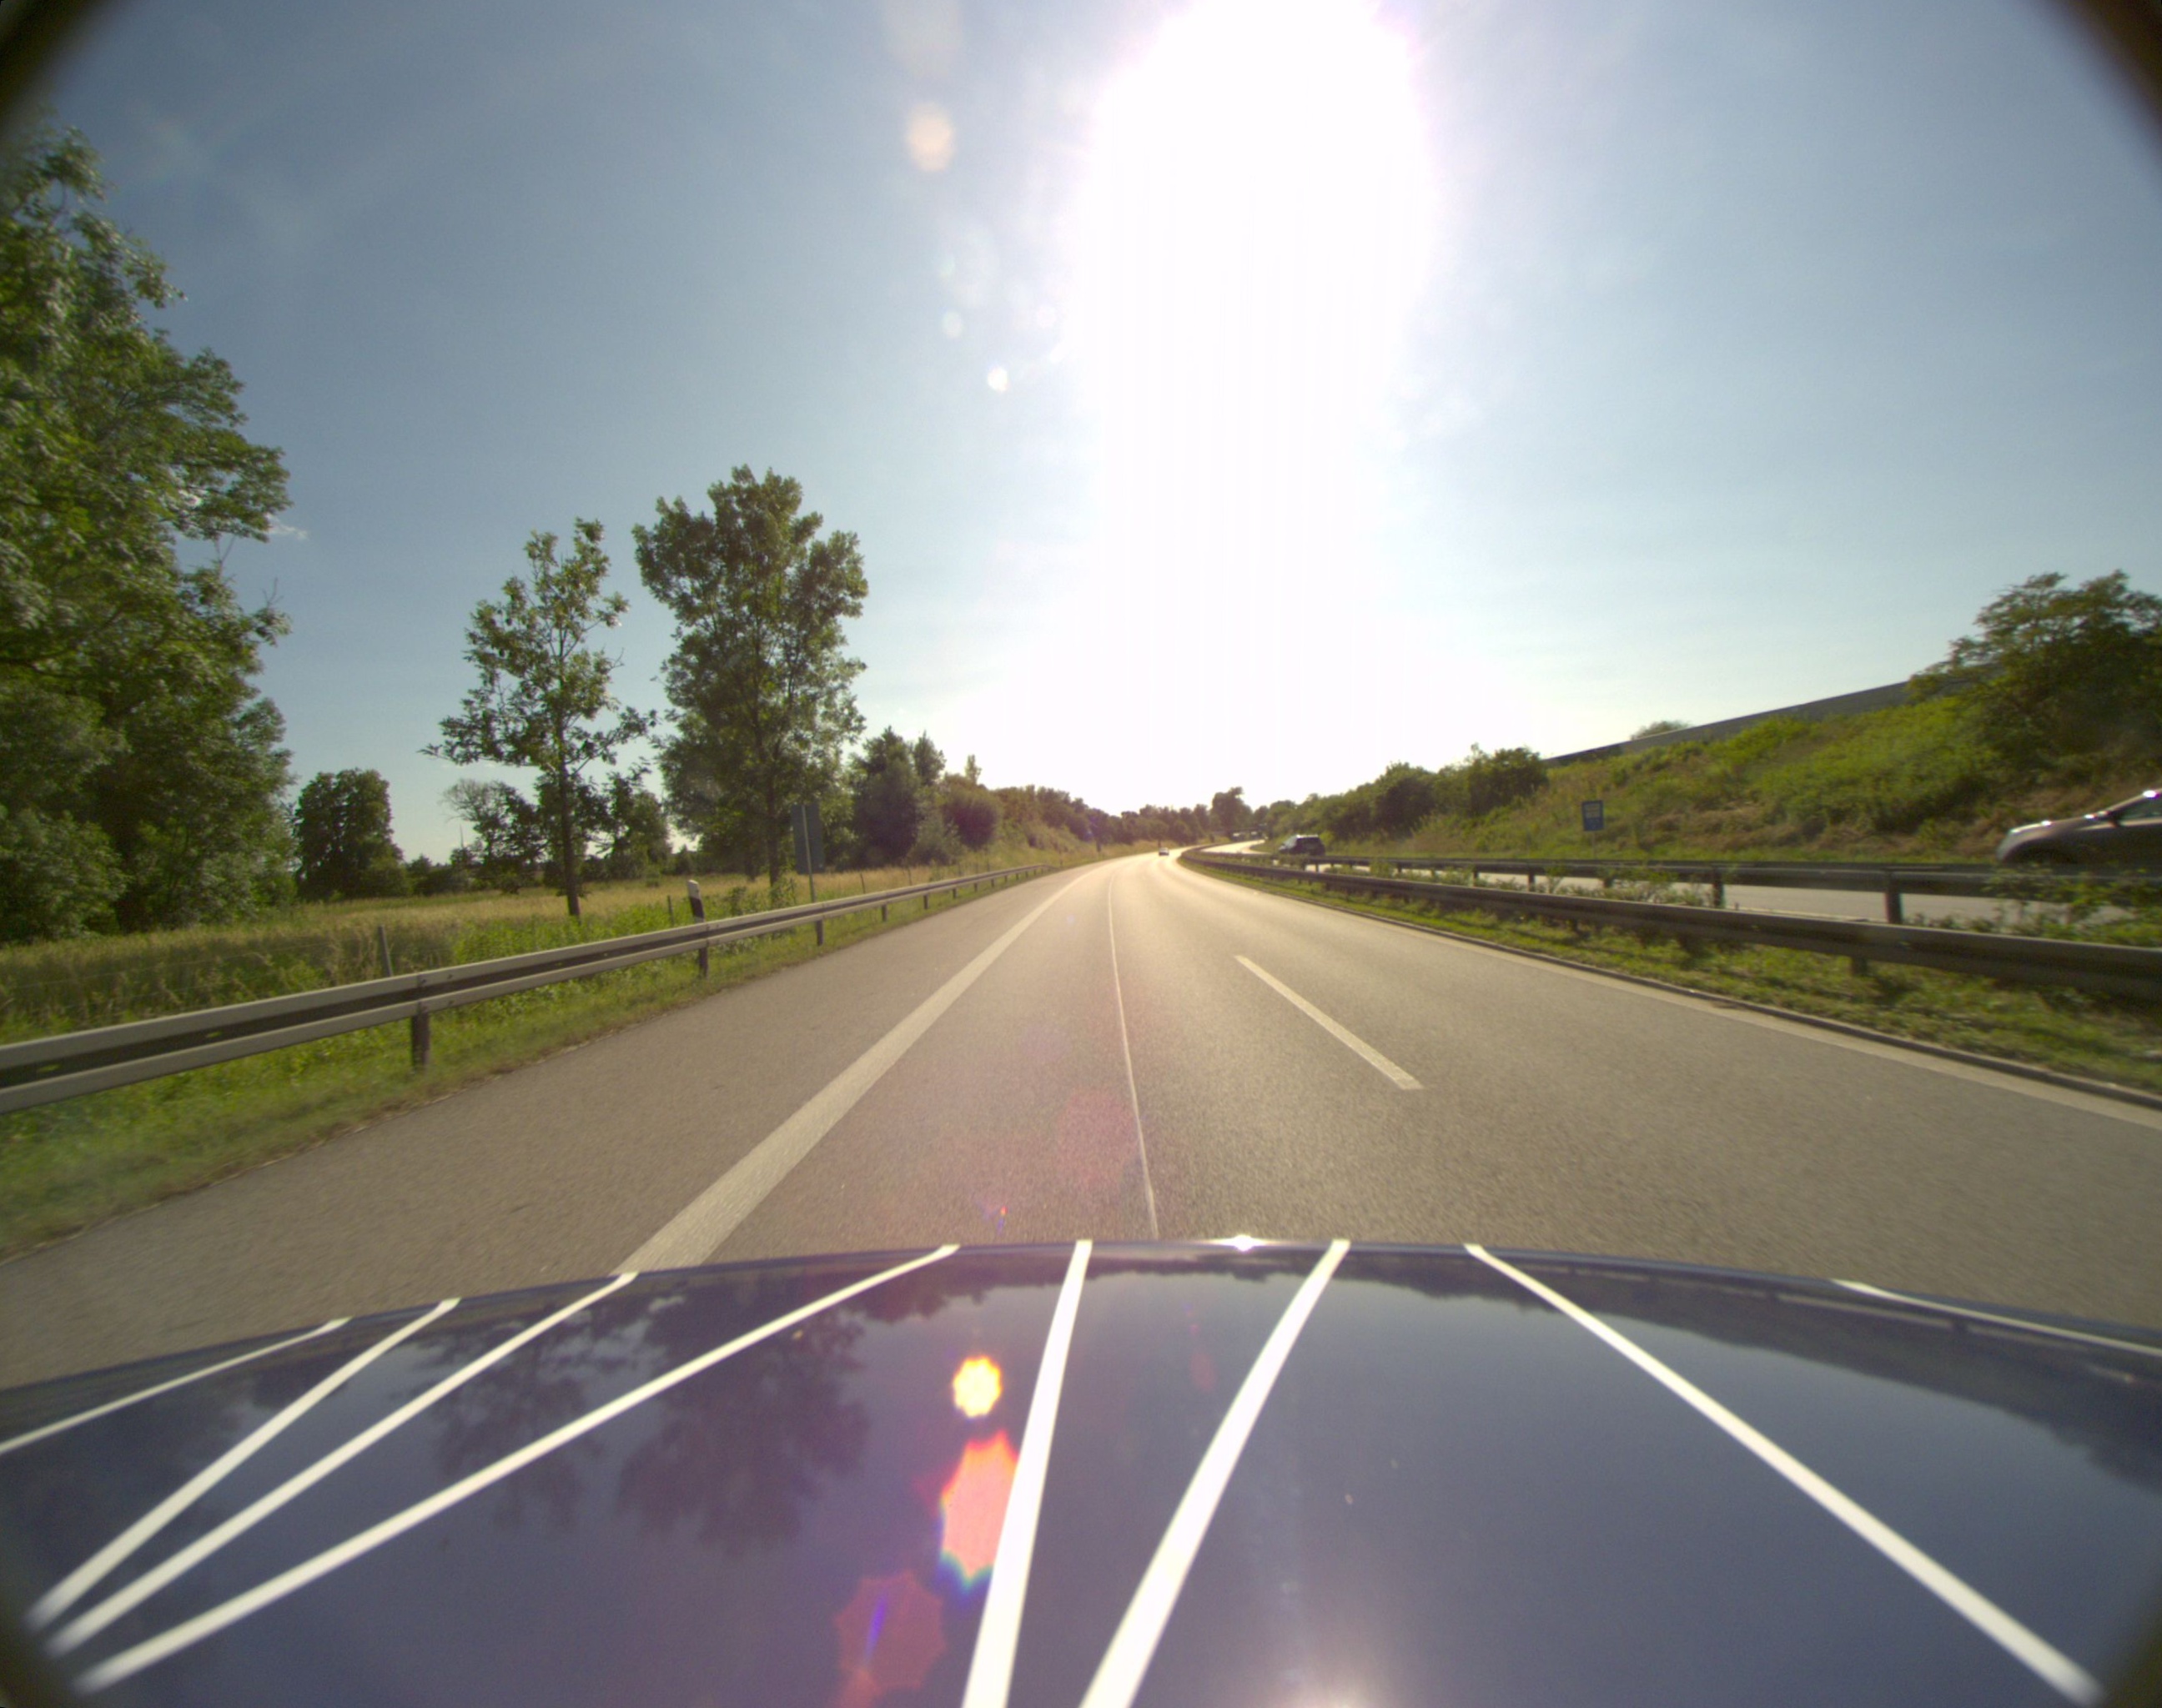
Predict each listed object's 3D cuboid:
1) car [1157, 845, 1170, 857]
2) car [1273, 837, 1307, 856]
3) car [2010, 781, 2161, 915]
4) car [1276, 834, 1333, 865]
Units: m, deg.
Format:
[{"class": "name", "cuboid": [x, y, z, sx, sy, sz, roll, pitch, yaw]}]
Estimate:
[{"class": "car", "cuboid": [15.174, -0.564, 139.851, 1.997, 2.002, 4.602, -4, 1, 10]}, {"class": "car", "cuboid": [17.812, -0.649, 64.981, 1.823, 1.471, 4.685, -3, 1, 3]}, {"class": "car", "cuboid": [14.181, -0.089, 8.562, 1.999, 1.642, 4.433, -1, 1, -1]}, {"class": "car", "cuboid": [13.075, -0.269, 44.819, 2.073, 1.669, 4.887, -1, 0, 2]}]
